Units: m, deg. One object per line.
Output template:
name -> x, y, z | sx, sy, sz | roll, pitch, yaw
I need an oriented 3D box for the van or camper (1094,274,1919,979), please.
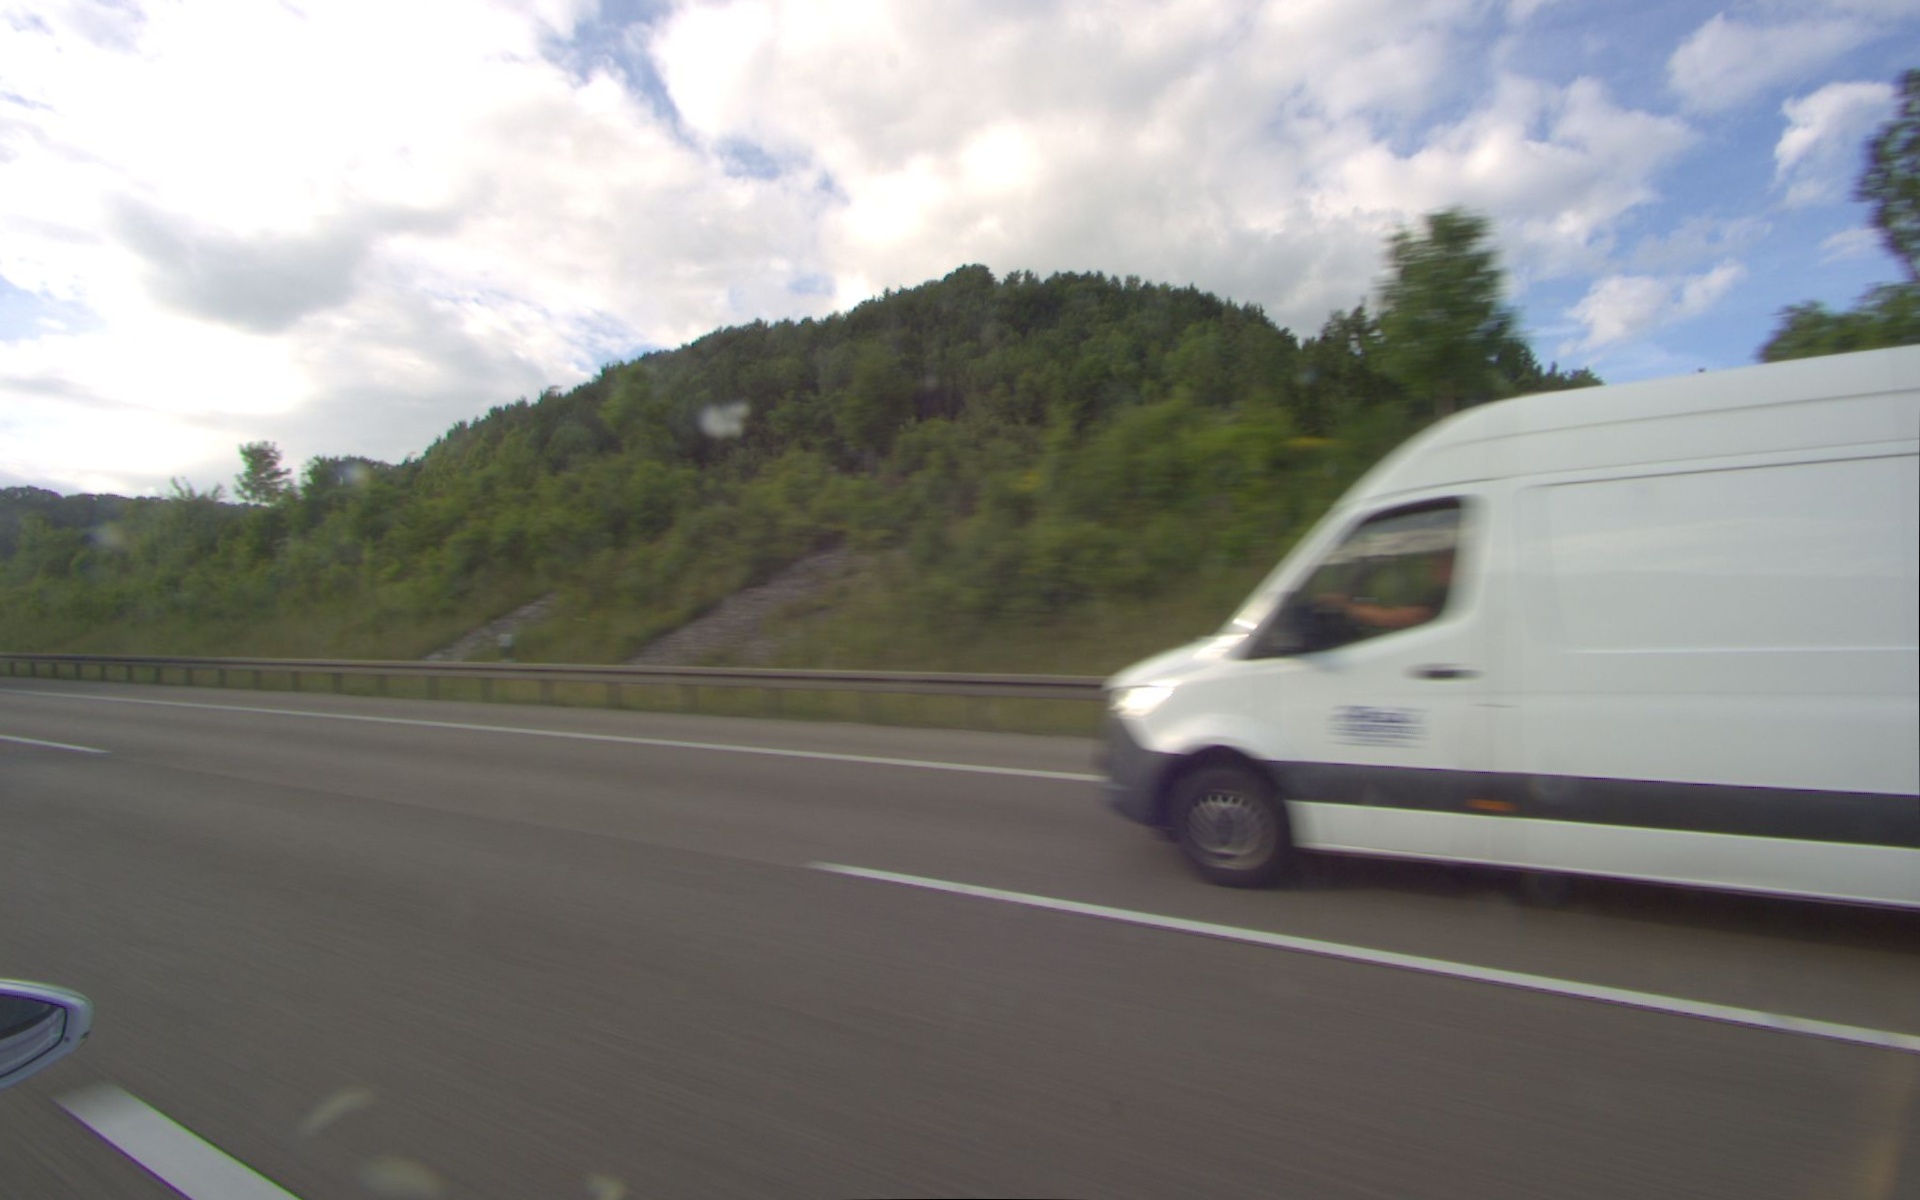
van or camper -> 4.420, 0.117, 4.661 | 7.416, 2.753, 1.989 | 0, -1, 33
